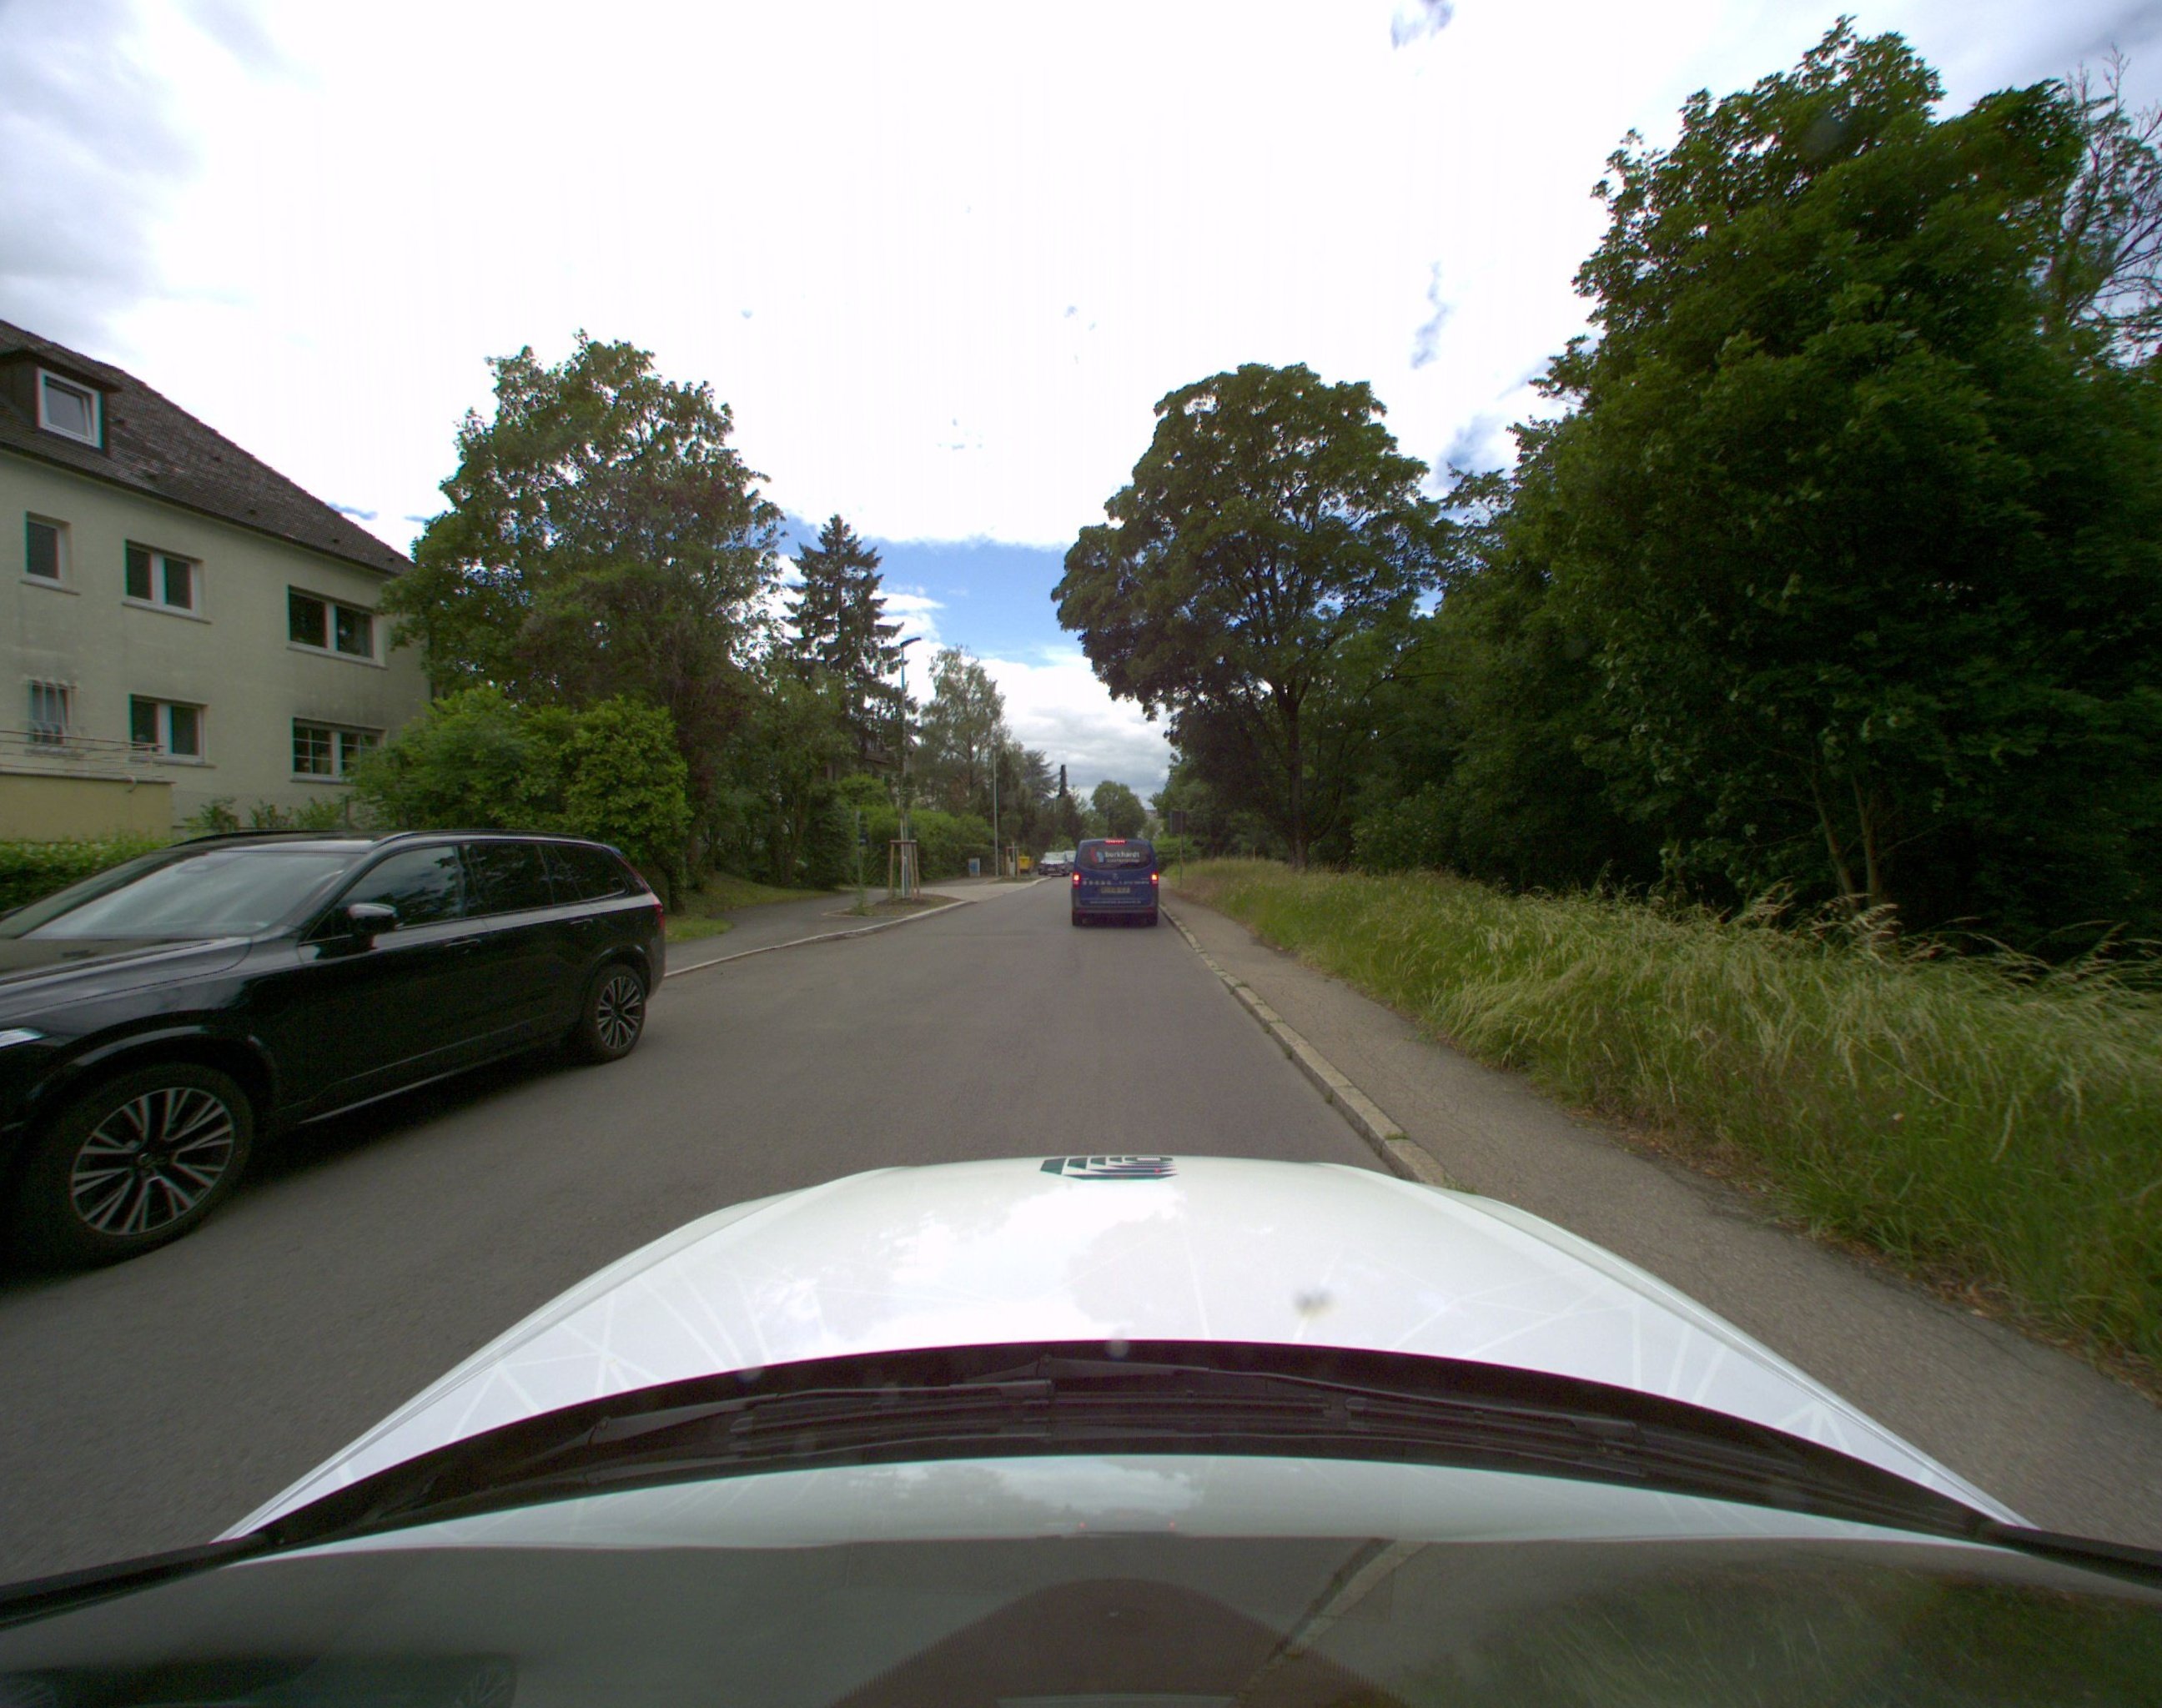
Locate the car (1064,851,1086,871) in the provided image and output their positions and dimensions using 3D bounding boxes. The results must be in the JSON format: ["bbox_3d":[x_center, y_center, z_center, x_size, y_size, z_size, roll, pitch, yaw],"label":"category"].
[{"bbox_3d":[-0.503,0.678,75.178,1.824,1.804,4.002,0,-1,3],"label":"car"}]

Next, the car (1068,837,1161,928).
[{"bbox_3d":[0.694,0.564,18.767,1.883,1.844,3.999,-1,0,0],"label":"car"}]

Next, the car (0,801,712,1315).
[{"bbox_3d":[-4.509,0.691,4.889,1.966,1.737,5.194,0,0,3],"label":"car"}]

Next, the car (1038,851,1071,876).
[{"bbox_3d":[-1.785,0.642,56.132,1.828,1.631,4.305,0,0,4],"label":"car"}]

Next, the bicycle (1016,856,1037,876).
[{"bbox_3d":[-3.553,0.766,53.279,0.902,1.252,2.919,1,0,4],"label":"bicycle"}]

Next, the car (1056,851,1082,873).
[{"bbox_3d":[-1.017,0.645,69.024,1.824,1.751,4.005,0,0,4],"label":"car"}]

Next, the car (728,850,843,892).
[{"bbox_3d":[-12.133,0.678,33.562,3.968,1.593,1.871,1,0,5],"label":"car"}]
